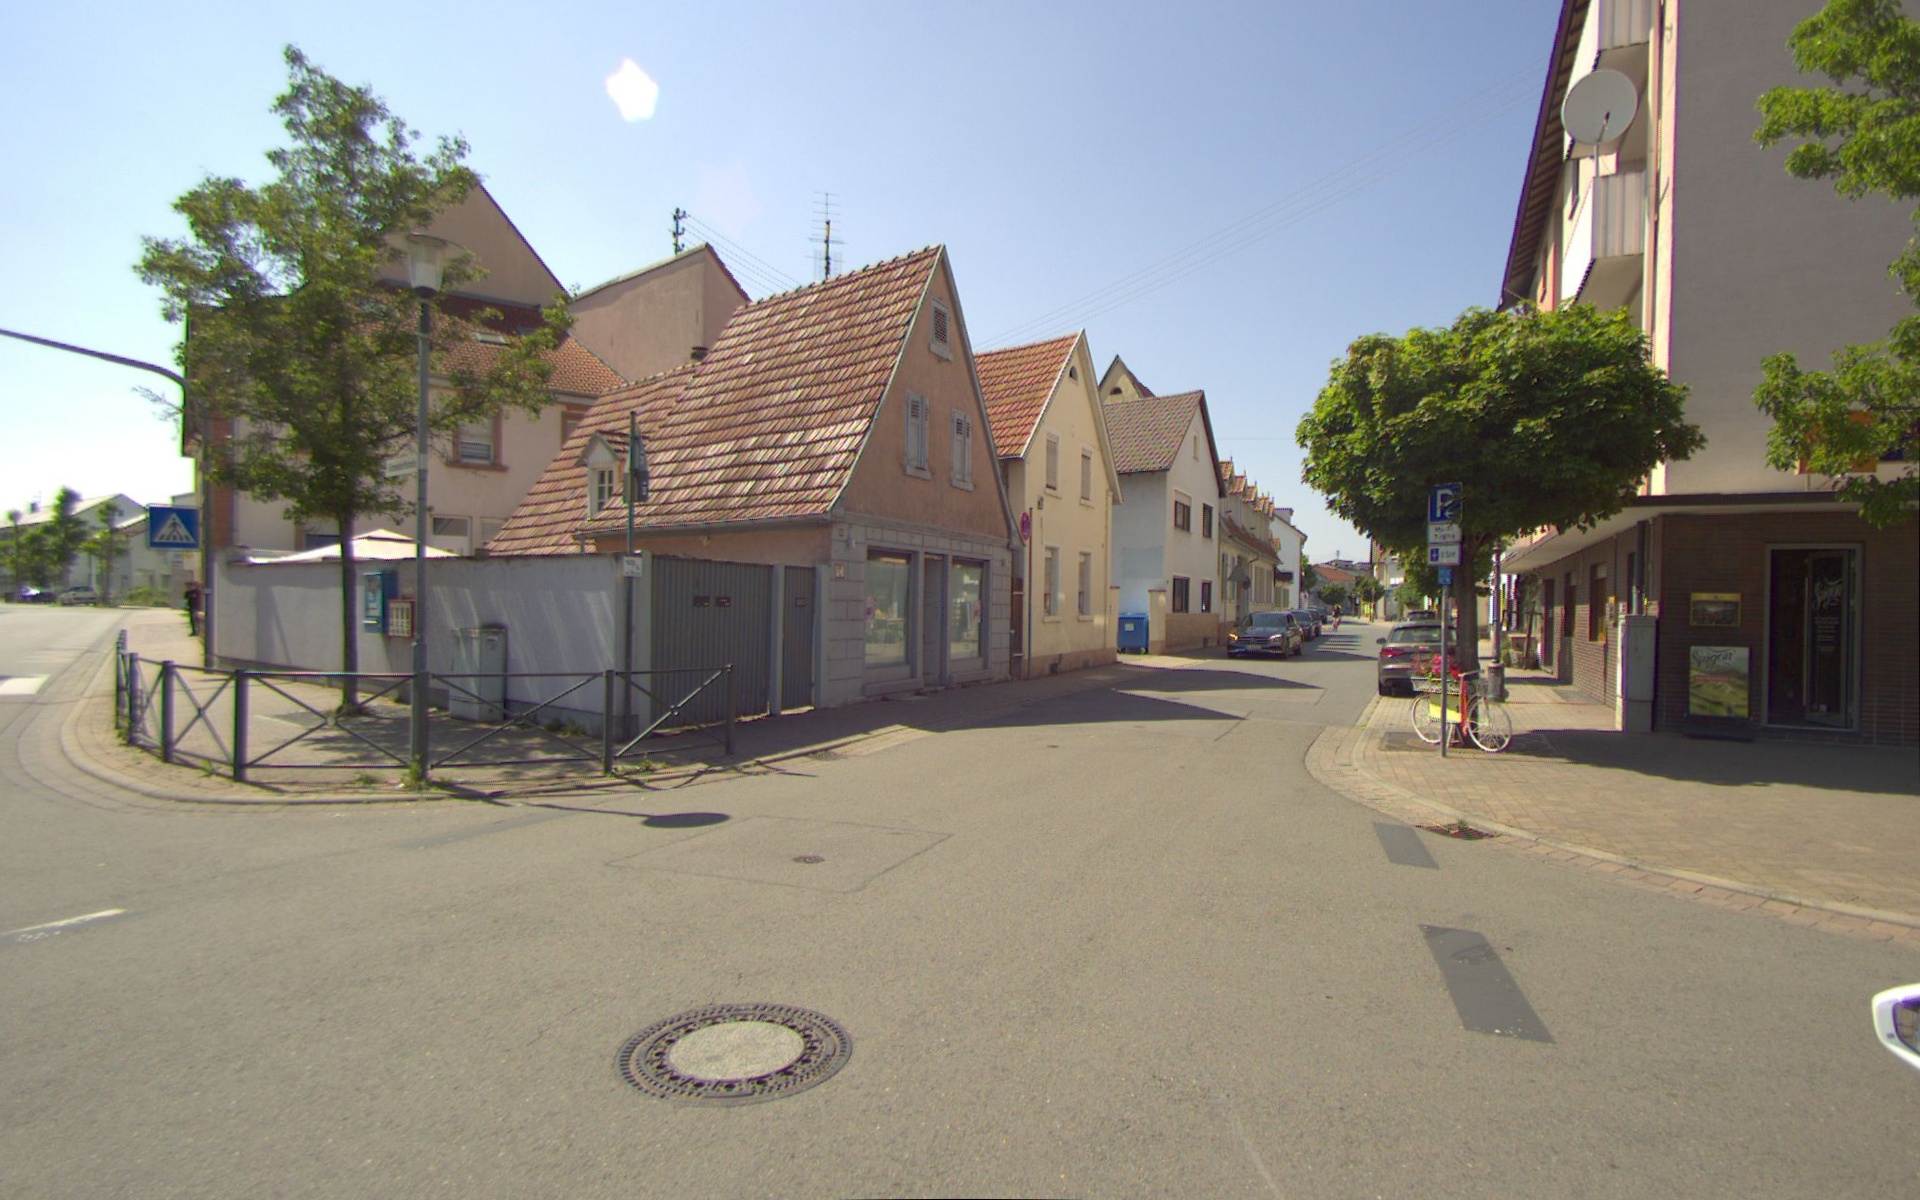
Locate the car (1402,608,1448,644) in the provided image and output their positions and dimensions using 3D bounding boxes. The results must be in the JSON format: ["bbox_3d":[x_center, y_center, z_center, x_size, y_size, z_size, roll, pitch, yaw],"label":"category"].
[{"bbox_3d":[23.467,1.293,50.706,2.011,1.711,4.838,0,-1,25],"label":"car"}]

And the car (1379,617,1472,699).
[{"bbox_3d":[9.294,1.079,19.978,1.552,1.473,3.482,0,-1,26],"label":"car"}]

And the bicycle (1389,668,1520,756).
[{"bbox_3d":[5.898,1.313,12.050,0.459,0.909,1.404,-1,-1,-28],"label":"bicycle"}]

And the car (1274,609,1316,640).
[{"bbox_3d":[16.927,1.228,50.651,1.637,1.495,4.132,0,-1,24],"label":"car"}]

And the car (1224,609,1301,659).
[{"bbox_3d":[10.062,1.152,33.174,1.879,1.501,4.842,0,-3,23],"label":"car"}]

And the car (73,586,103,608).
[{"bbox_3d":[-72.471,-0.246,83.487,1.767,1.804,3.954,1,-1,-40],"label":"car"}]

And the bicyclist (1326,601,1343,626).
[{"bbox_3d":[24.748,0.888,66.460,1.029,1.659,1.128,0,0,19],"label":"bicyclist"}]

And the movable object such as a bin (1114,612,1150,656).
[{"bbox_3d":[5.540,1.096,32.371,1.085,1.384,0.389,0,0,29],"label":"movable object such as a bin"}]

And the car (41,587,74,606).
[{"bbox_3d":[-82.854,-0.321,92.182,3.940,1.714,1.773,0,-1,40],"label":"car"}]

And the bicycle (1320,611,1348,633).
[{"bbox_3d":[24.774,1.453,66.672,1.596,1.389,3.926,0,-1,19],"label":"bicycle"}]
